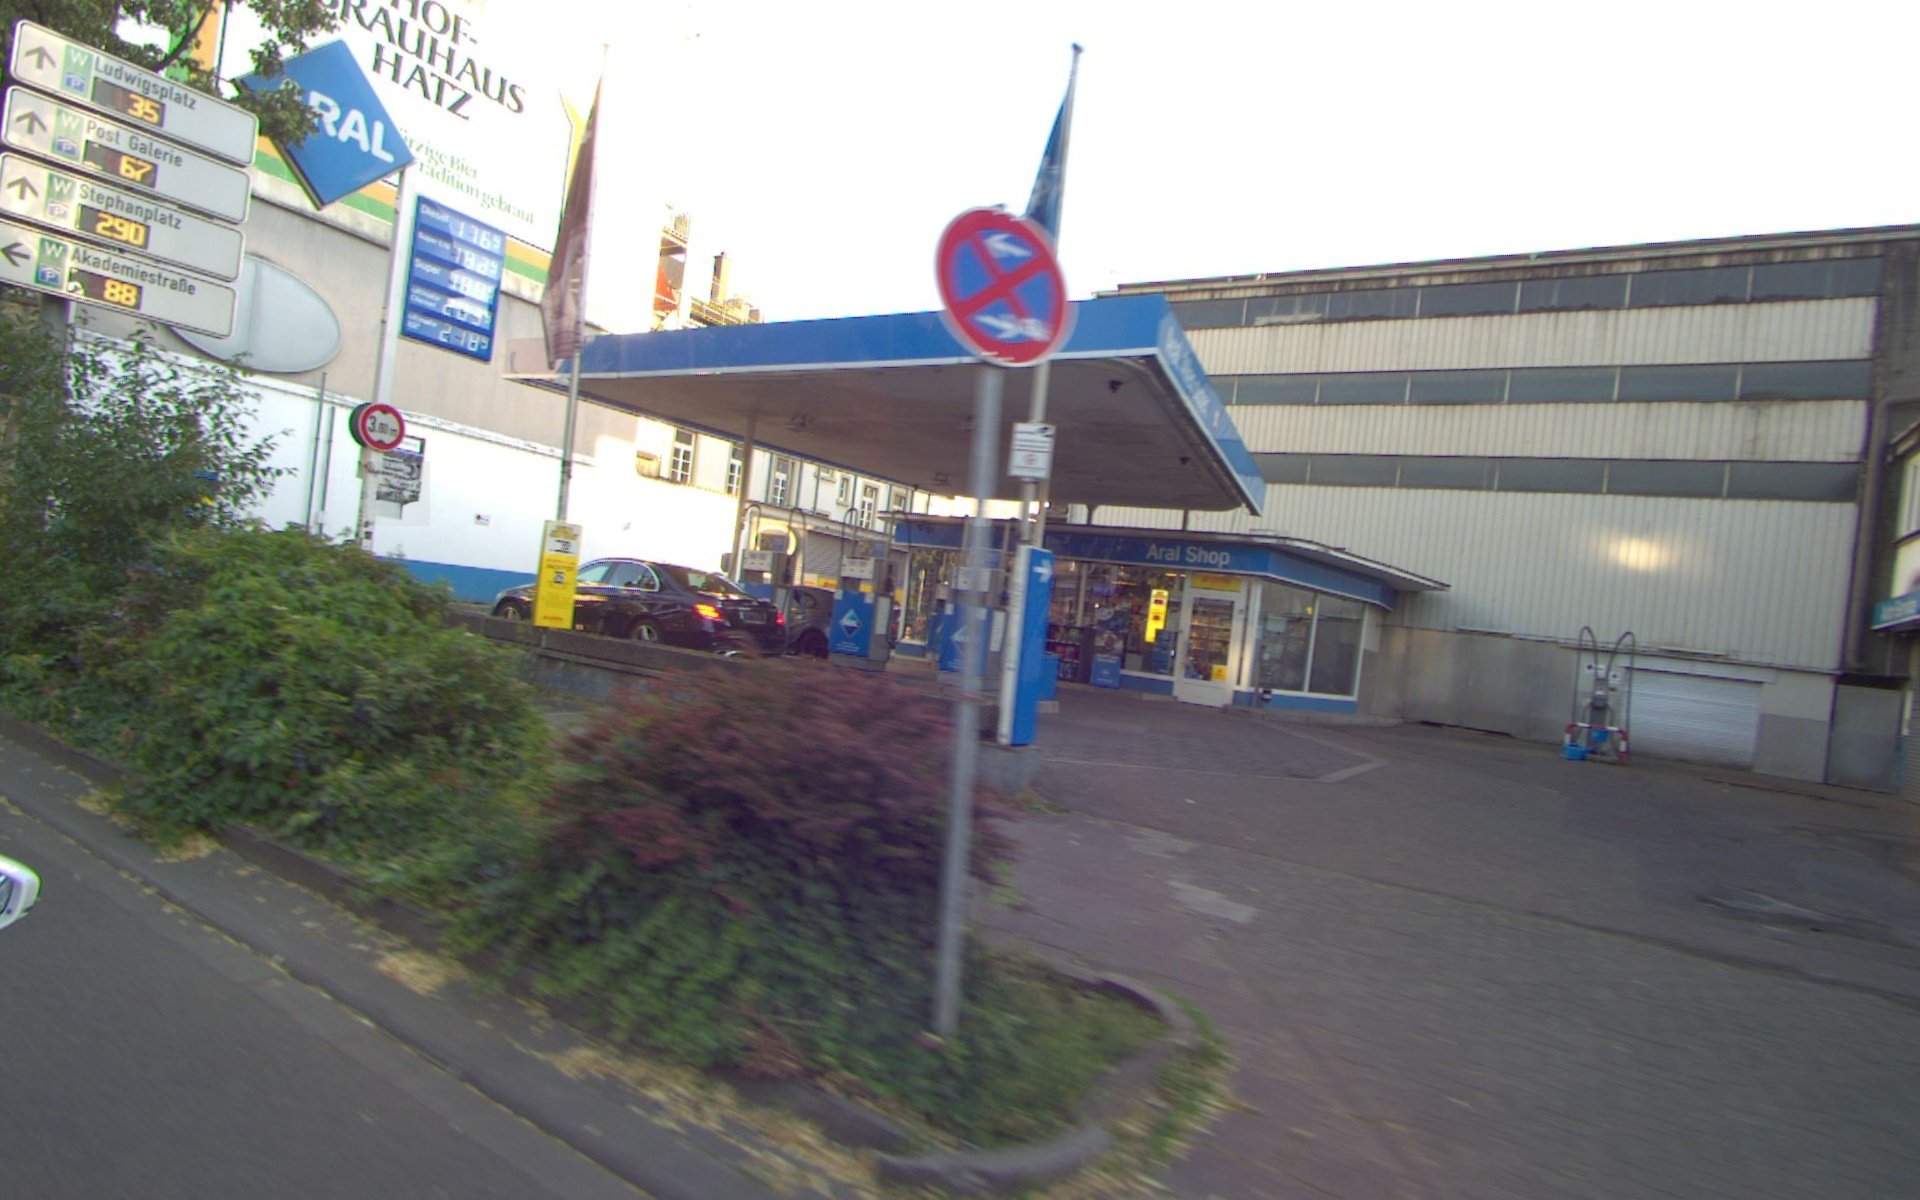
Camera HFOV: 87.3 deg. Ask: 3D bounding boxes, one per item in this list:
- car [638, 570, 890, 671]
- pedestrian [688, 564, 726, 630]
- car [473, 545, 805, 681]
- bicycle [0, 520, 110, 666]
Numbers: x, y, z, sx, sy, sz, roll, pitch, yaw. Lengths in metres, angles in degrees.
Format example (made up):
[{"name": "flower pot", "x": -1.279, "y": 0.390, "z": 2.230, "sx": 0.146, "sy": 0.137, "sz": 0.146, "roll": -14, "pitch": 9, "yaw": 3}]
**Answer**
[{"name": "car", "x": -3.759, "y": 0.370, "z": 18.992, "sx": 4.681, "sy": 1.419, "sz": 1.712, "roll": 5, "pitch": 0, "yaw": 32}, {"name": "pedestrian", "x": -7.006, "y": -0.077, "z": 27.824, "sx": 0.644, "sy": 1.737, "sz": 0.547, "roll": 8, "pitch": 1, "yaw": 31}, {"name": "car", "x": -4.680, "y": 0.149, "z": 14.398, "sx": 4.828, "sy": 1.448, "sz": 1.736, "roll": 5, "pitch": 0, "yaw": 32}, {"name": "bicycle", "x": -8.123, "y": -0.103, "z": 8.907, "sx": 0.478, "sy": 1.158, "sz": 1.669, "roll": 4, "pitch": 2, "yaw": -27}]
